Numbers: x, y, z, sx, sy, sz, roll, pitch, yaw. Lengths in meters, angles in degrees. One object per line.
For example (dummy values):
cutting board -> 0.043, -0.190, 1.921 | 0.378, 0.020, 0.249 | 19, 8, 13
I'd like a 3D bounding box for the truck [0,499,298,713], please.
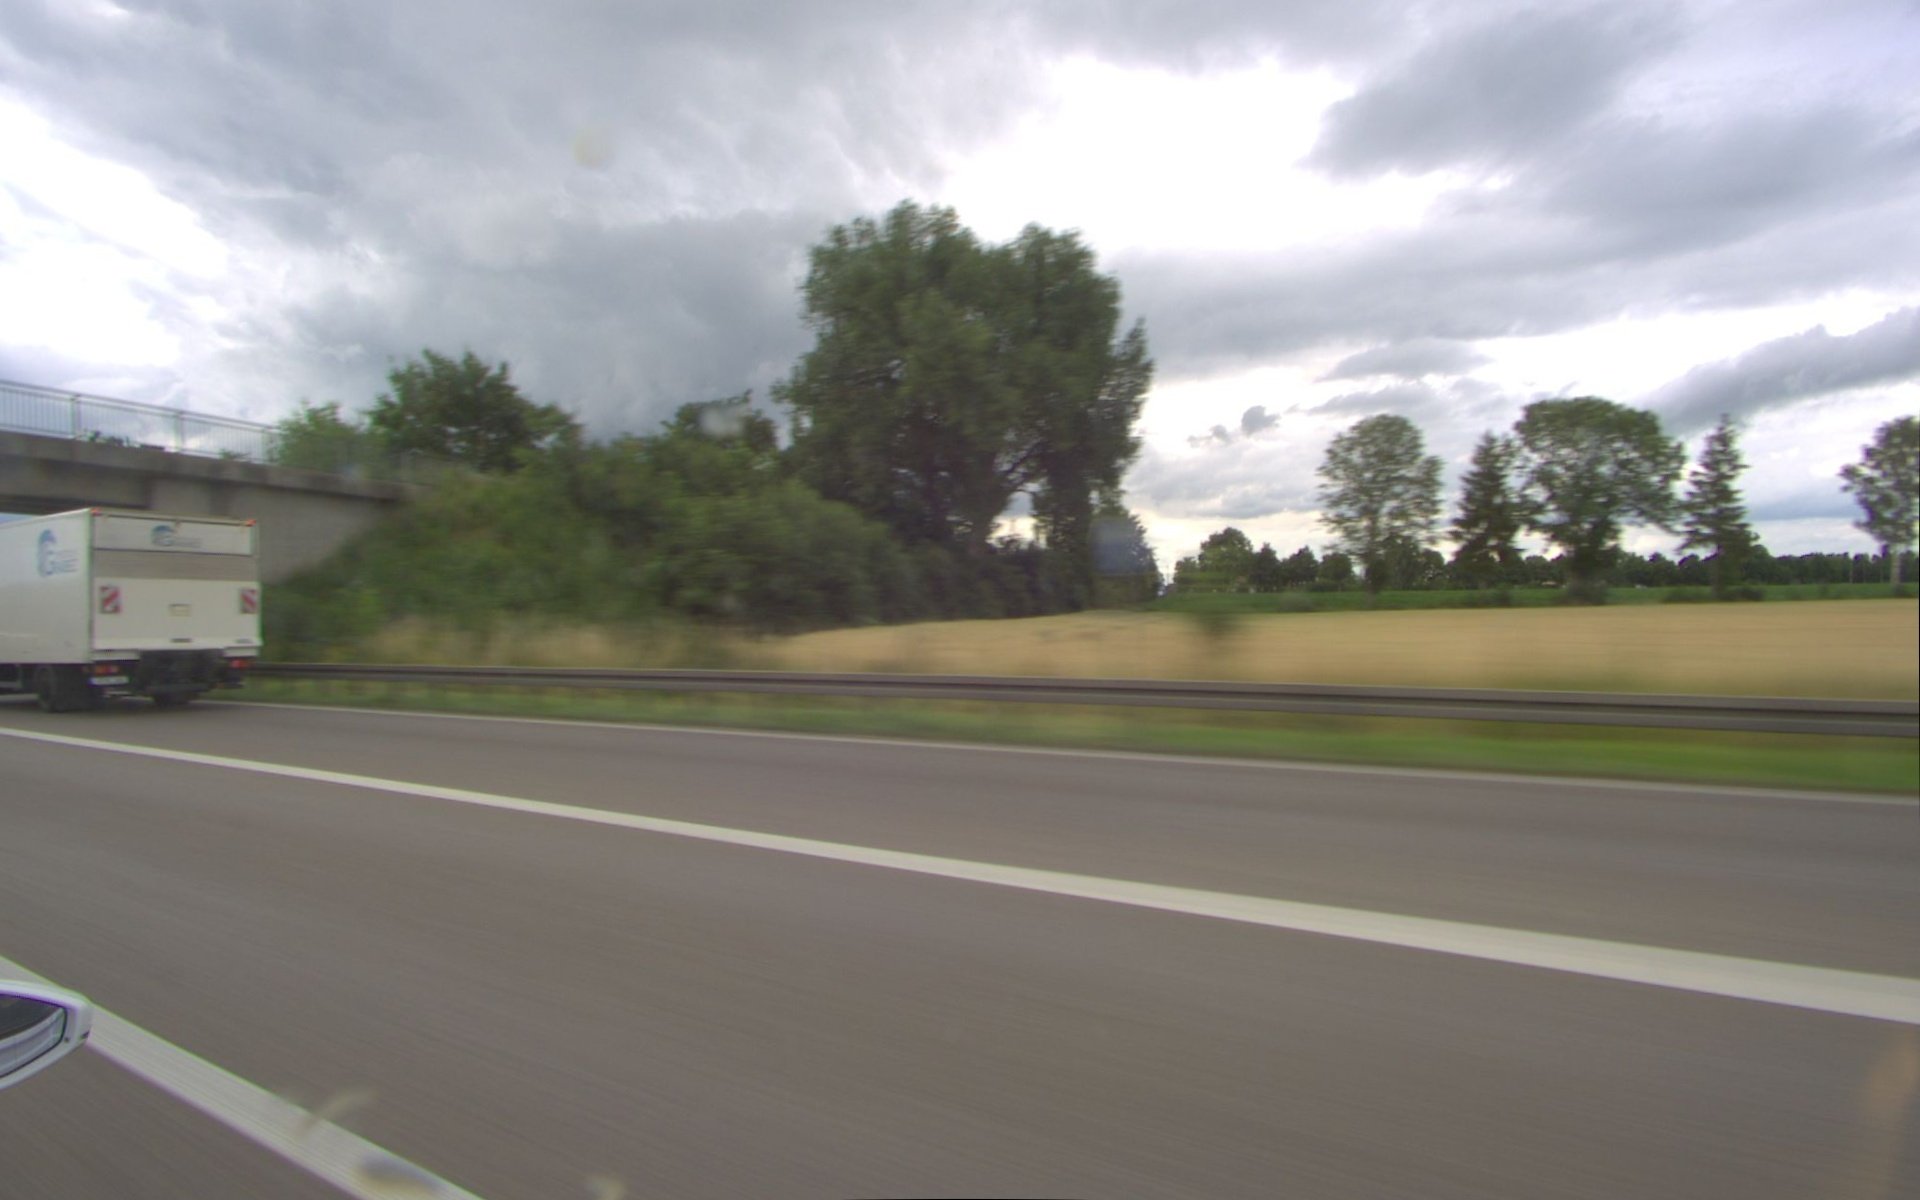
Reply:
truck -> -17.210, 0.212, 20.036 | 8.759, 3.515, 3.101 | -1, -2, 31
